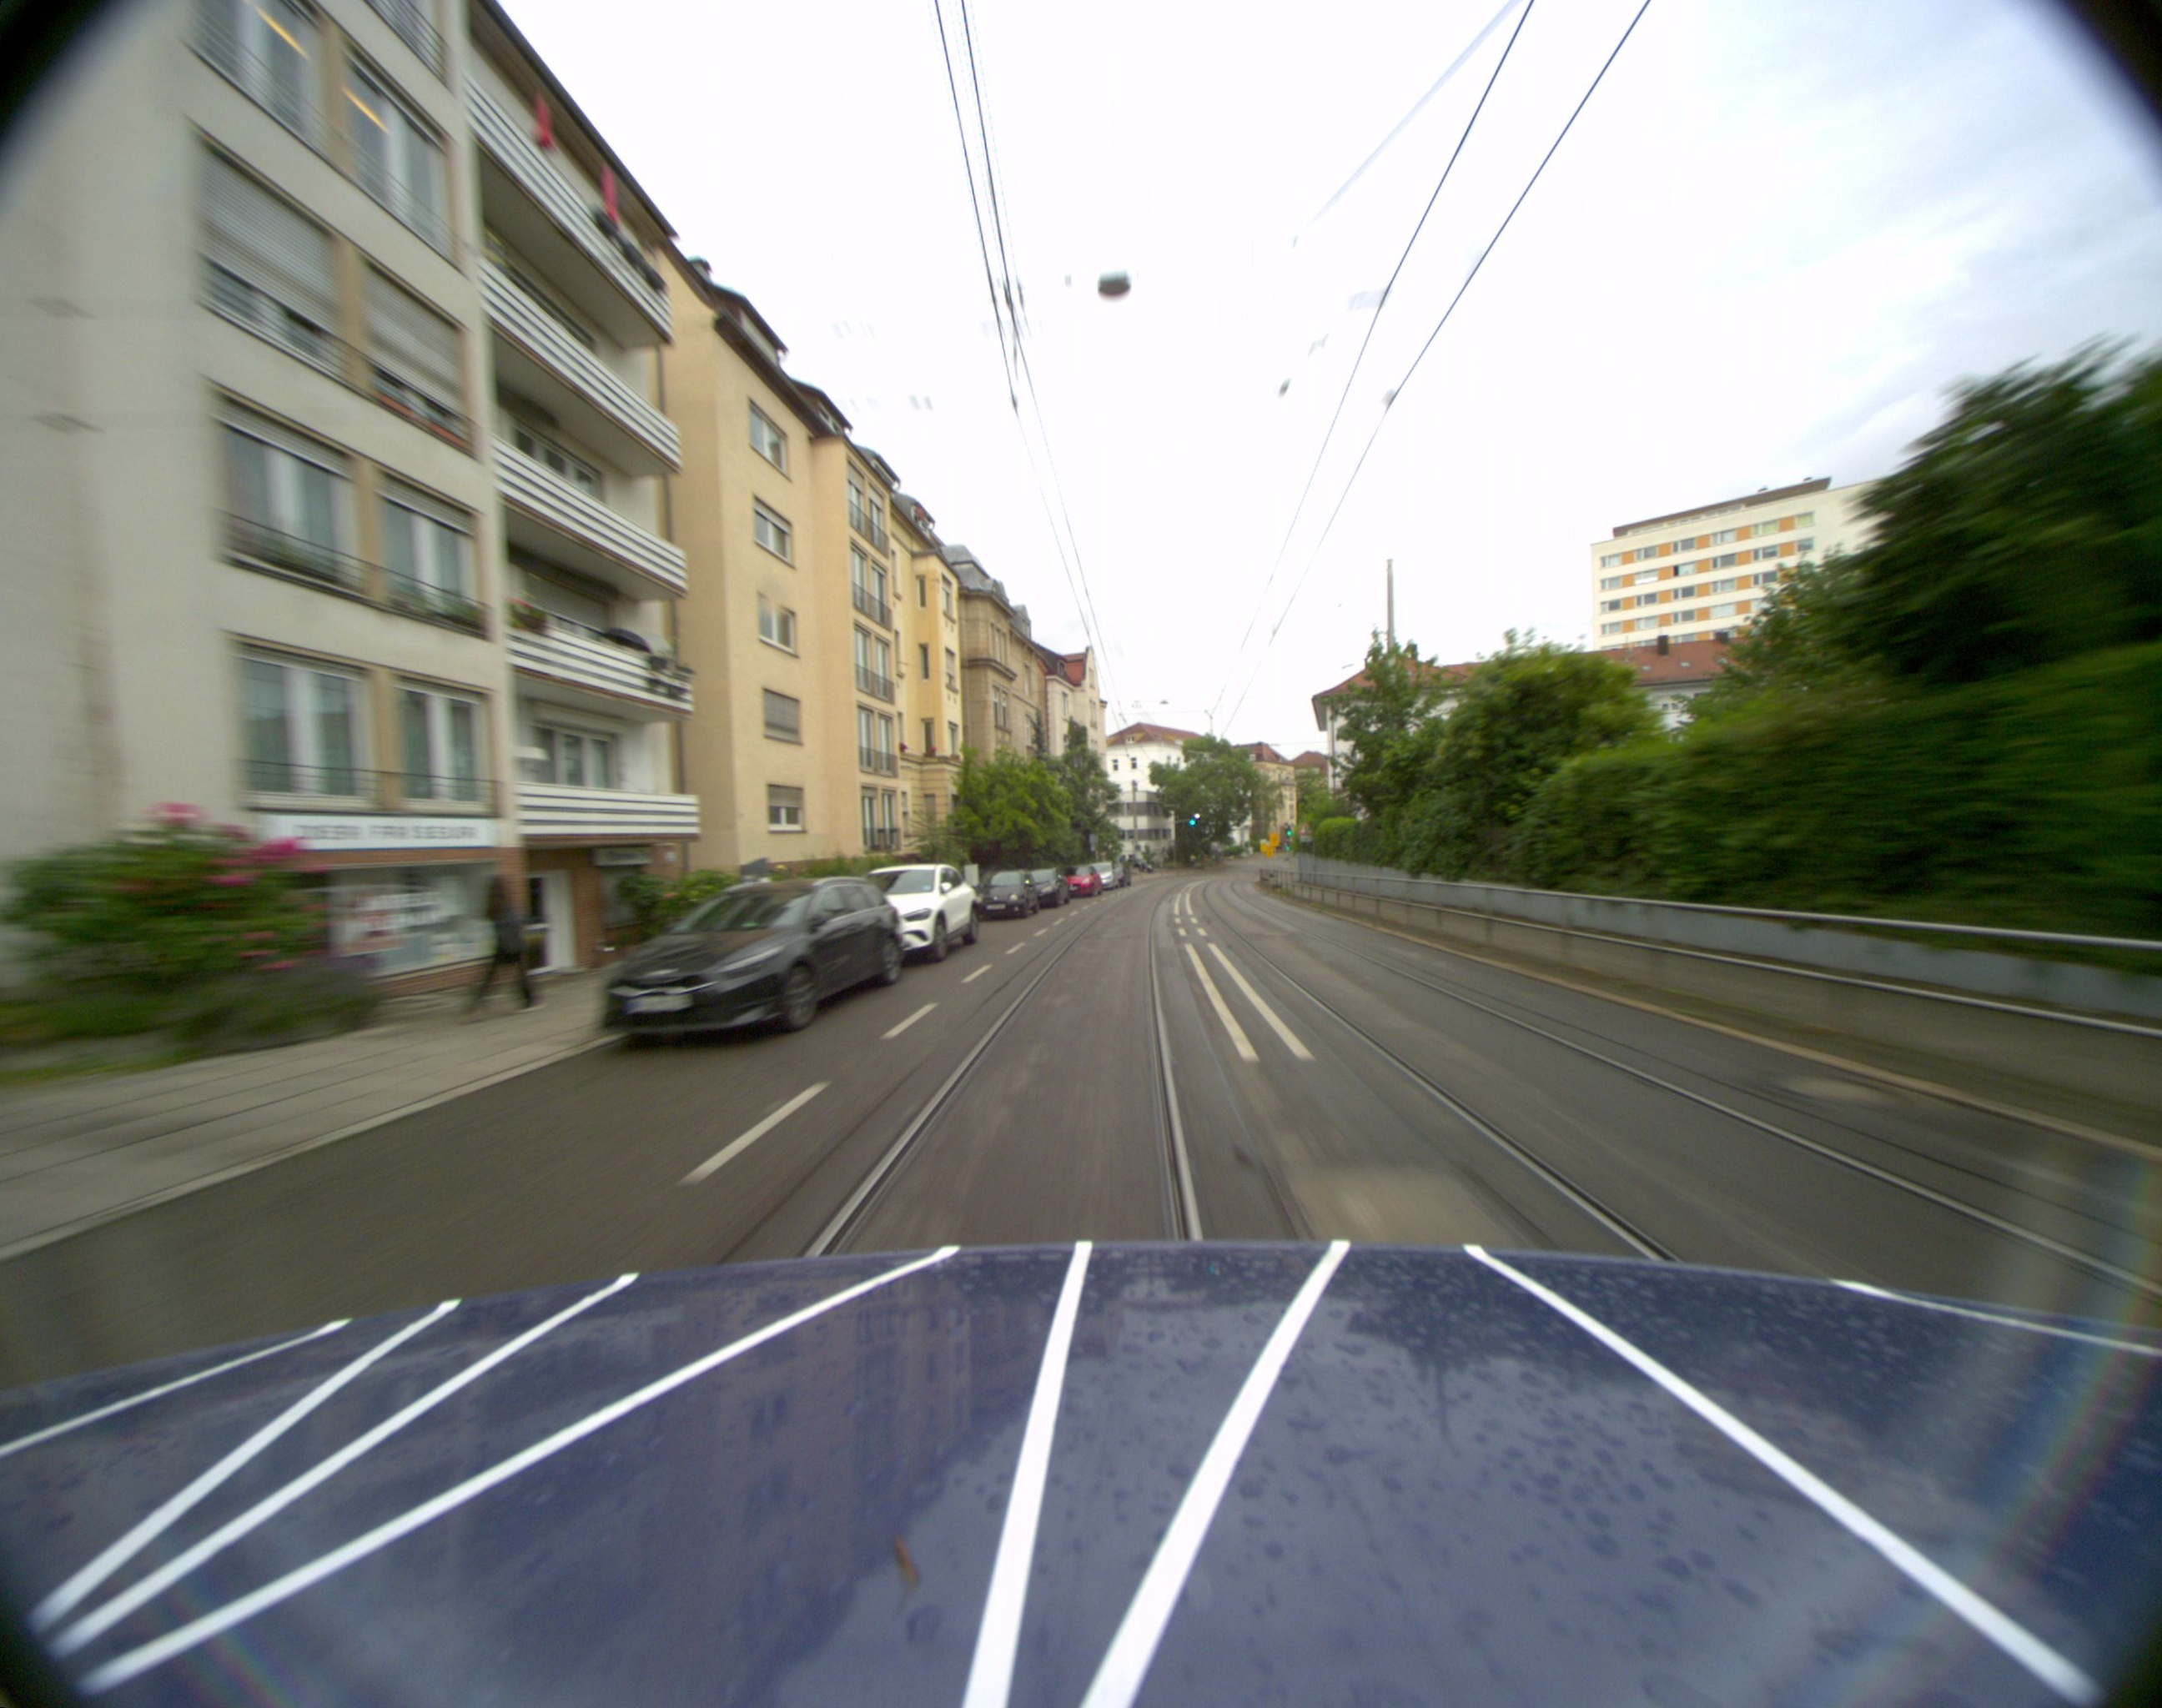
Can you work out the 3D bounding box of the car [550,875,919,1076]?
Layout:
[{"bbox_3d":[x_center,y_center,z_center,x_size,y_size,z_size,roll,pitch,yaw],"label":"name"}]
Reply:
[{"bbox_3d":[-3.456,1.110,8.748,1.705,1.503,4.573,-5,-1,5],"label":"car"}]

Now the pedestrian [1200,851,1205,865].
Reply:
[{"bbox_3d":[16.751,0.499,104.346,0.542,1.913,0.918,0,3,17],"label":"pedestrian"}]

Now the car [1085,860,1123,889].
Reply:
[{"bbox_3d":[1.427,1.176,44.844,1.769,1.594,4.291,-1,0,8],"label":"car"}]

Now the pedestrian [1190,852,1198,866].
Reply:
[{"bbox_3d":[14.410,0.611,96.734,0.743,1.690,0.674,4,0,25],"label":"pedestrian"}]

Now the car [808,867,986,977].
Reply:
[{"bbox_3d":[-3.051,1.066,13.593,1.841,1.563,4.250,-3,-1,4],"label":"car"}]

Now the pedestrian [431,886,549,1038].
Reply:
[{"bbox_3d":[-6.402,1.130,8.280,0.571,1.533,0.929,0,0,-3],"label":"pedestrian"}]

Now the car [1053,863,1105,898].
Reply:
[{"bbox_3d":[-0.034,1.199,35.456,1.725,1.428,3.844,-3,-1,10],"label":"car"}]

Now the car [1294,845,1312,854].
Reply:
[{"bbox_3d":[36.795,-0.817,125.615,1.689,1.434,3.811,1,2,35],"label":"car"}]

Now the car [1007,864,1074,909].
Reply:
[{"bbox_3d":[-1.397,1.135,27.900,1.686,1.428,4.067,-3,-1,8],"label":"car"}]

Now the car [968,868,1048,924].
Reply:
[{"bbox_3d":[-2.108,1.209,23.153,1.559,1.428,4.306,-3,-1,6],"label":"car"}]

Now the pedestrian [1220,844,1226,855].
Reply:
[{"bbox_3d":[20.916,-0.630,111.897,0.547,1.556,0.600,1,-1,-36],"label":"pedestrian"}]

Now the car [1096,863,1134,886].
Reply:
[{"bbox_3d":[2.244,1.334,49.147,1.769,1.382,4.005,-3,-2,12],"label":"car"}]

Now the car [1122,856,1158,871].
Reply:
[{"bbox_3d":[6.662,1.017,86.189,3.661,1.500,1.740,2,2,22],"label":"car"}]
